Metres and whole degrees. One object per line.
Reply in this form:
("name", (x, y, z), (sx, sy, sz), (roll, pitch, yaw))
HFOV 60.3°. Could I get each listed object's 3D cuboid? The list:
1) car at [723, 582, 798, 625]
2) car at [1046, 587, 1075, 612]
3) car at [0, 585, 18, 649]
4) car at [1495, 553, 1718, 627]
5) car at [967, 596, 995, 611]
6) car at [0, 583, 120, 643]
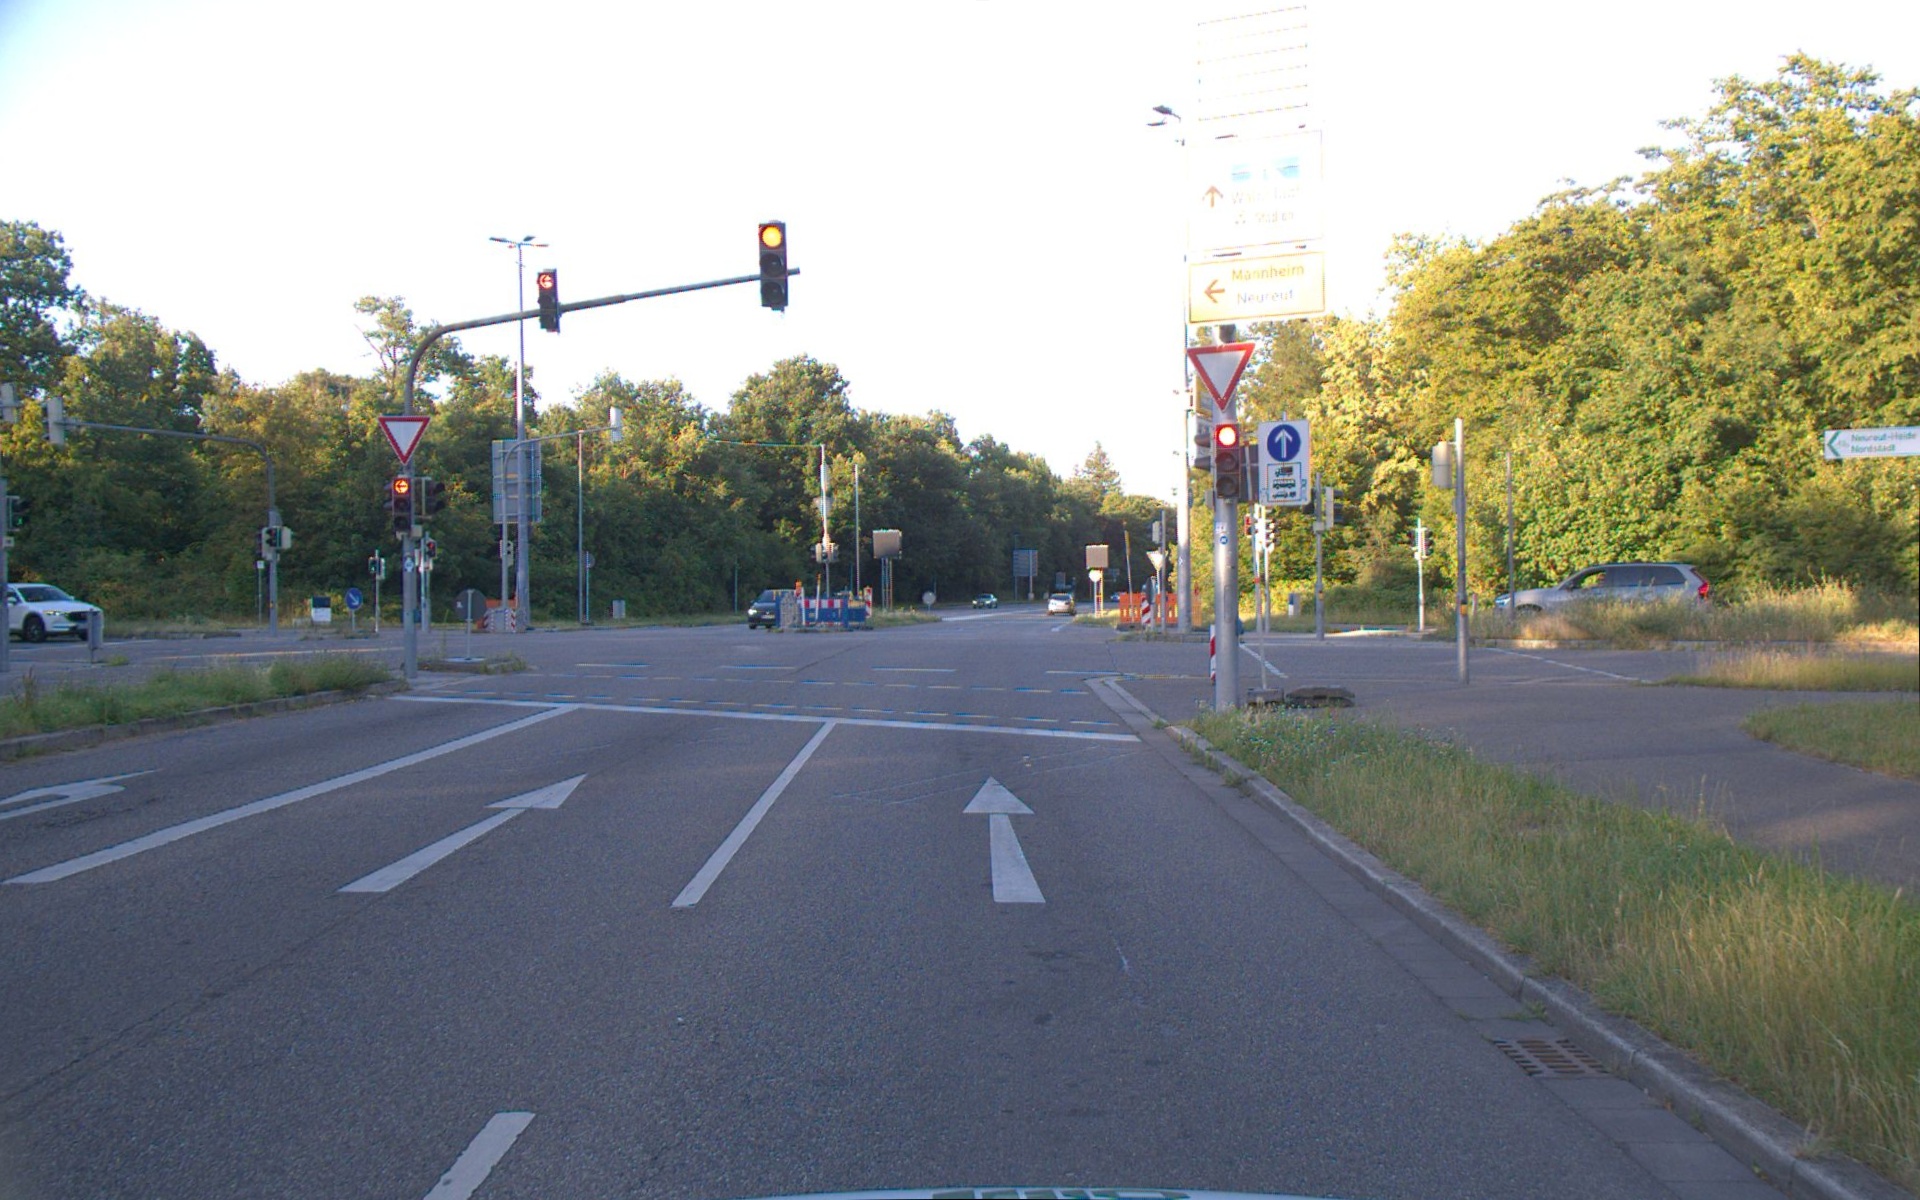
("car", (-7.468, 0.107, 62.369), (1.951, 1.556, 4.681), (-1, 1, 4))
("car", (6.933, -0.031, 113.646), (1.951, 1.646, 4.002), (-1, 1, 4))
("car", (-27.431, 0.467, 44.010), (4.157, 1.668, 2.000), (0, 1, 23))
("car", (15.029, -0.217, 38.563), (4.717, 1.626, 2.000), (-1, 0, 22))
("car", (2.136, 0.370, 164.616), (1.951, 1.445, 4.004), (-1, 1, 13))
("car", (-26.716, 0.366, 47.955), (4.157, 1.668, 2.000), (0, 1, 23))
